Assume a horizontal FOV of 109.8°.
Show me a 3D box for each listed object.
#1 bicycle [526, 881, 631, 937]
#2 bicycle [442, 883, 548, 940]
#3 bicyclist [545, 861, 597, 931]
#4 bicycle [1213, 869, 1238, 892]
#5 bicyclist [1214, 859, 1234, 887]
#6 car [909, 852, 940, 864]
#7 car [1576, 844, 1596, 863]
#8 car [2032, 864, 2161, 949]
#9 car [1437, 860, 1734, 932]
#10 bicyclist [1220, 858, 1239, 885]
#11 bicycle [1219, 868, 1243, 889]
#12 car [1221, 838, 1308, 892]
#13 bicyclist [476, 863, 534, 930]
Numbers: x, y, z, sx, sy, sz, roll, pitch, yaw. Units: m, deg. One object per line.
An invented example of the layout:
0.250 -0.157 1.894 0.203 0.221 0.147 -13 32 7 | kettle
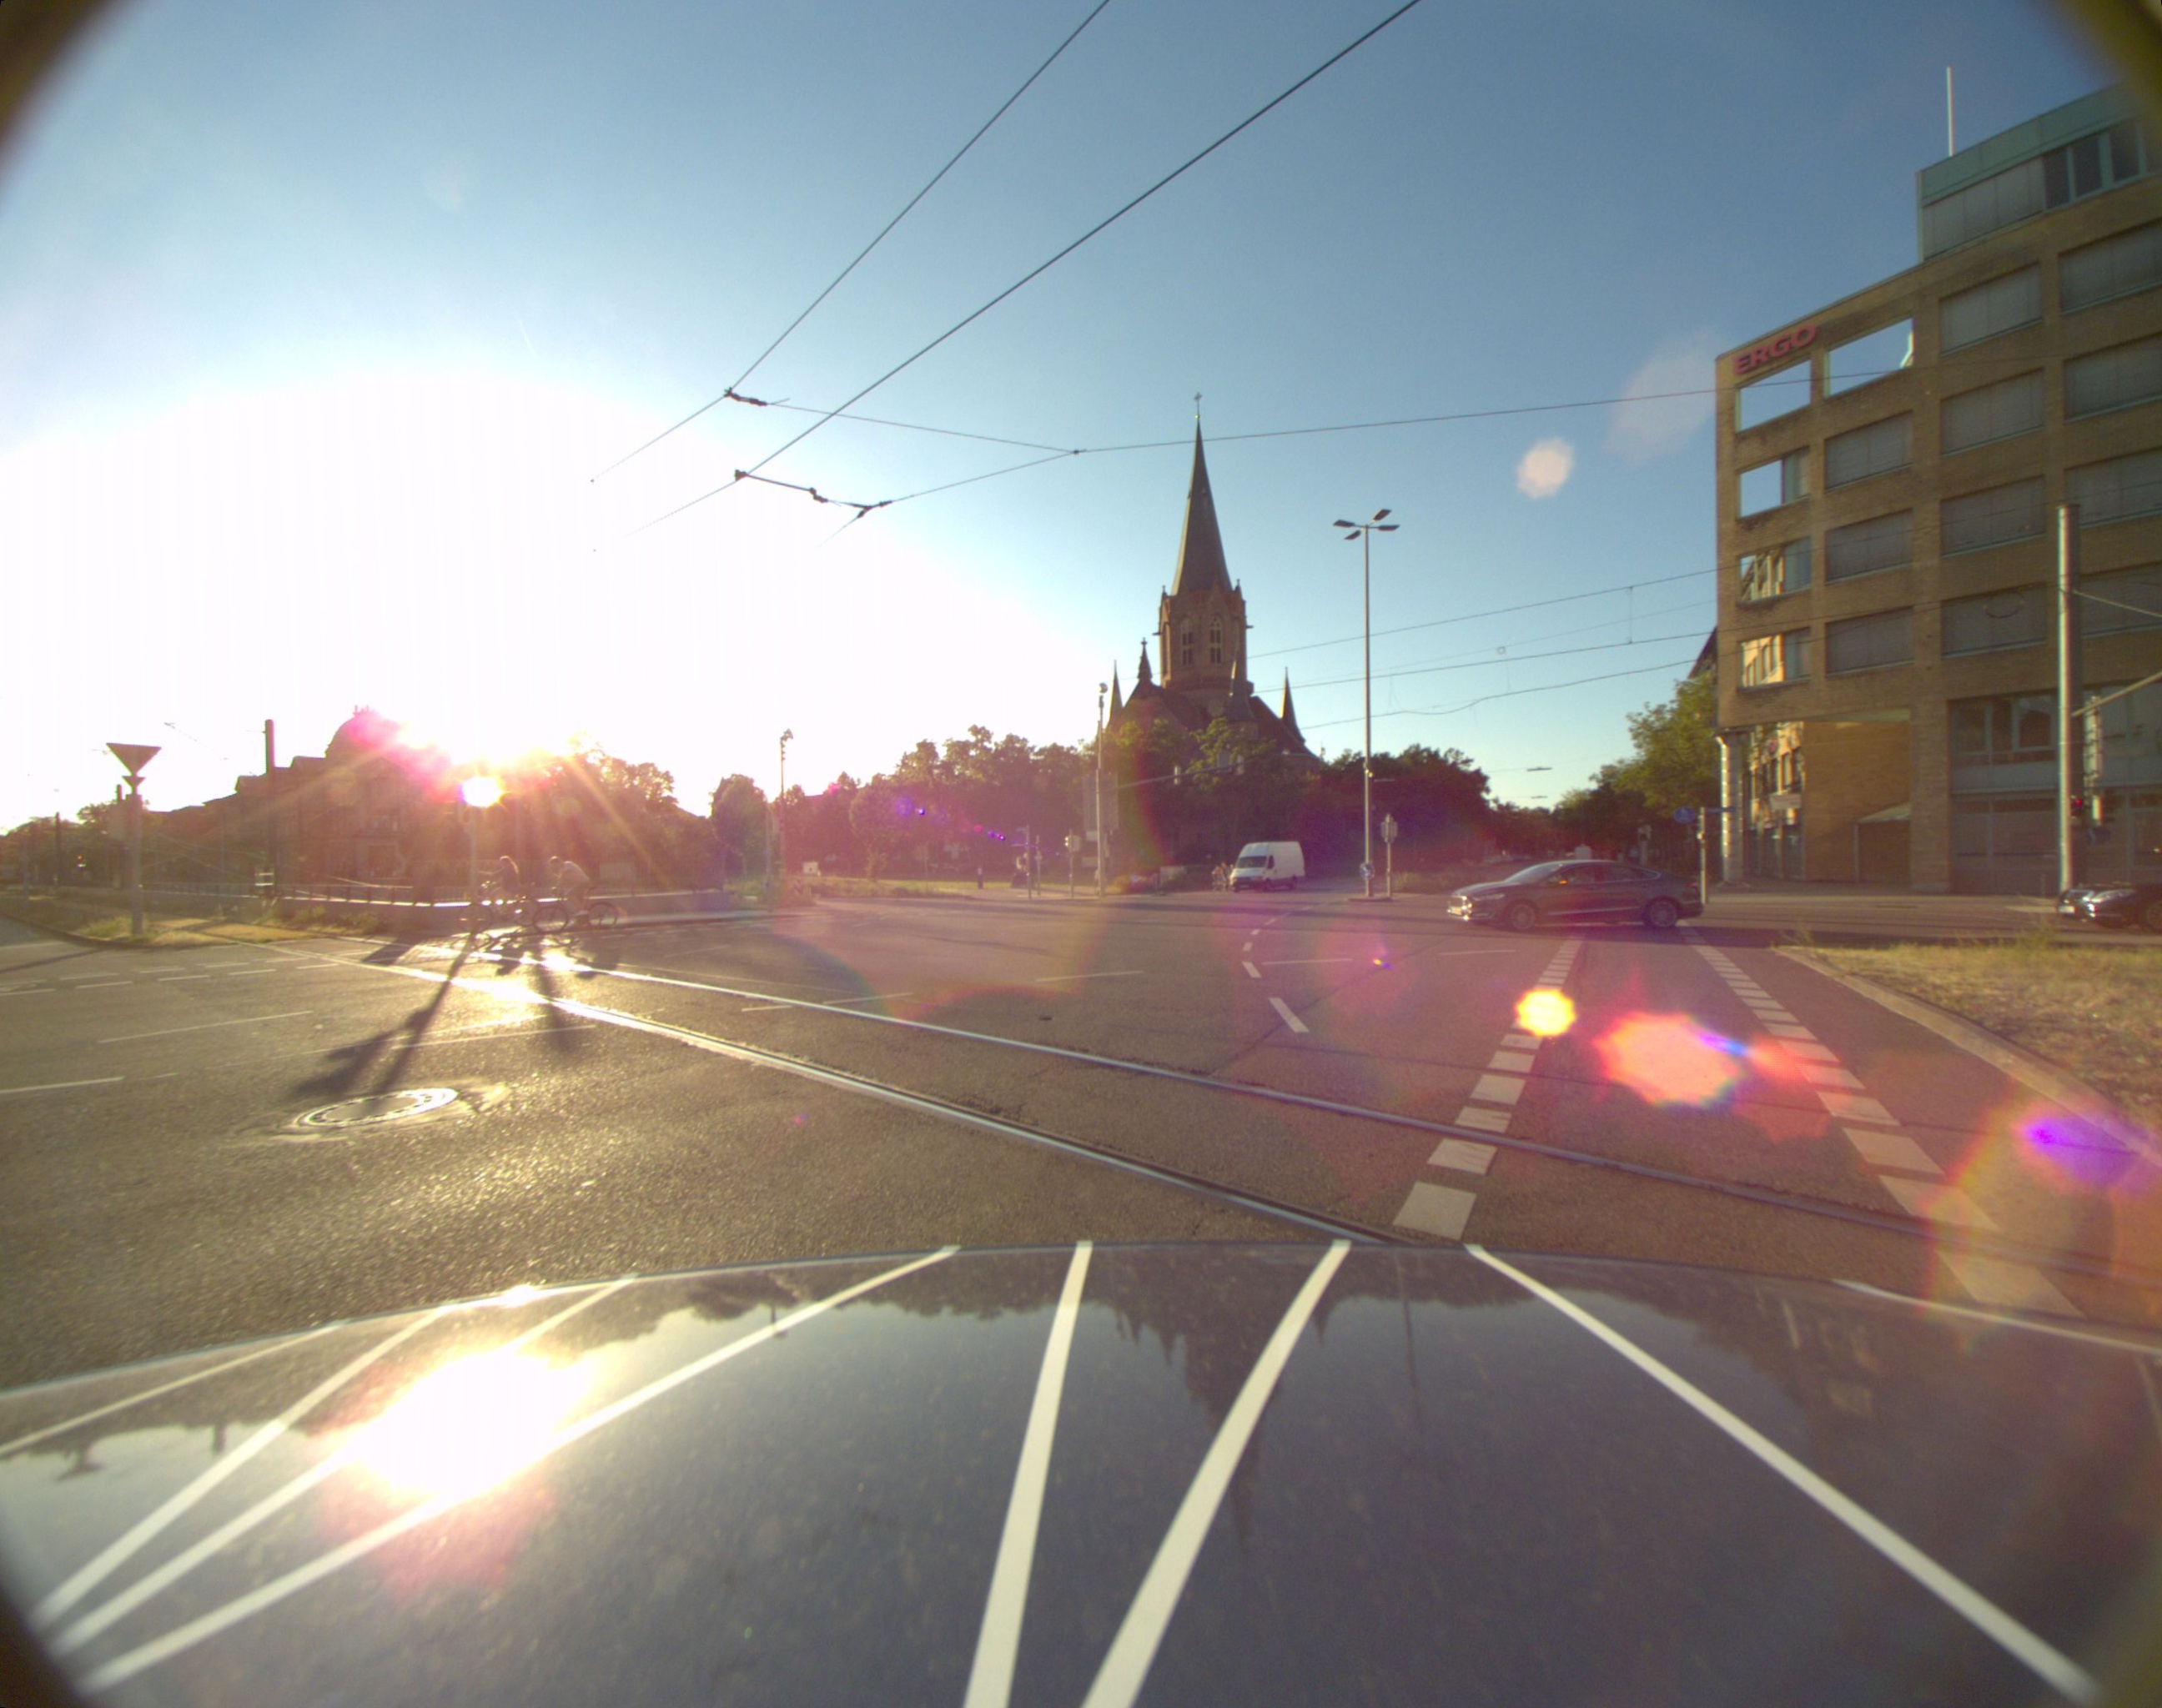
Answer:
-11.753 1.263 17.850 0.489 1.175 1.976 -1 0 38 | bicycle
-13.929 1.338 18.124 0.489 1.175 1.974 -2 1 22 | bicycle
-11.869 0.958 17.688 0.821 1.559 0.735 -1 1 39 | bicyclist
8.316 1.519 43.591 0.489 1.175 1.975 -1 1 38 | bicycle
8.212 1.101 43.508 0.821 1.559 0.735 -1 1 39 | bicyclist
-24.310 0.617 118.164 4.126 1.811 2.001 -2 1 7 | car
66.401 -0.083 99.903 2.099 2.409 4.373 -2 1 34 | car
21.296 0.925 13.608 5.013 1.499 1.728 -2 0 34 | car
10.624 0.851 16.321 5.036 1.428 1.879 0 0 4 | car
8.897 1.034 45.555 0.821 1.559 0.735 -1 1 39 | bicyclist
9.025 1.471 45.680 0.489 1.175 1.975 -1 1 38 | bicycle
10.591 0.545 43.329 2.302 2.861 7.216 -1 0 35 | car
-13.856 1.008 18.278 0.821 1.559 0.735 -2 1 23 | bicyclist
